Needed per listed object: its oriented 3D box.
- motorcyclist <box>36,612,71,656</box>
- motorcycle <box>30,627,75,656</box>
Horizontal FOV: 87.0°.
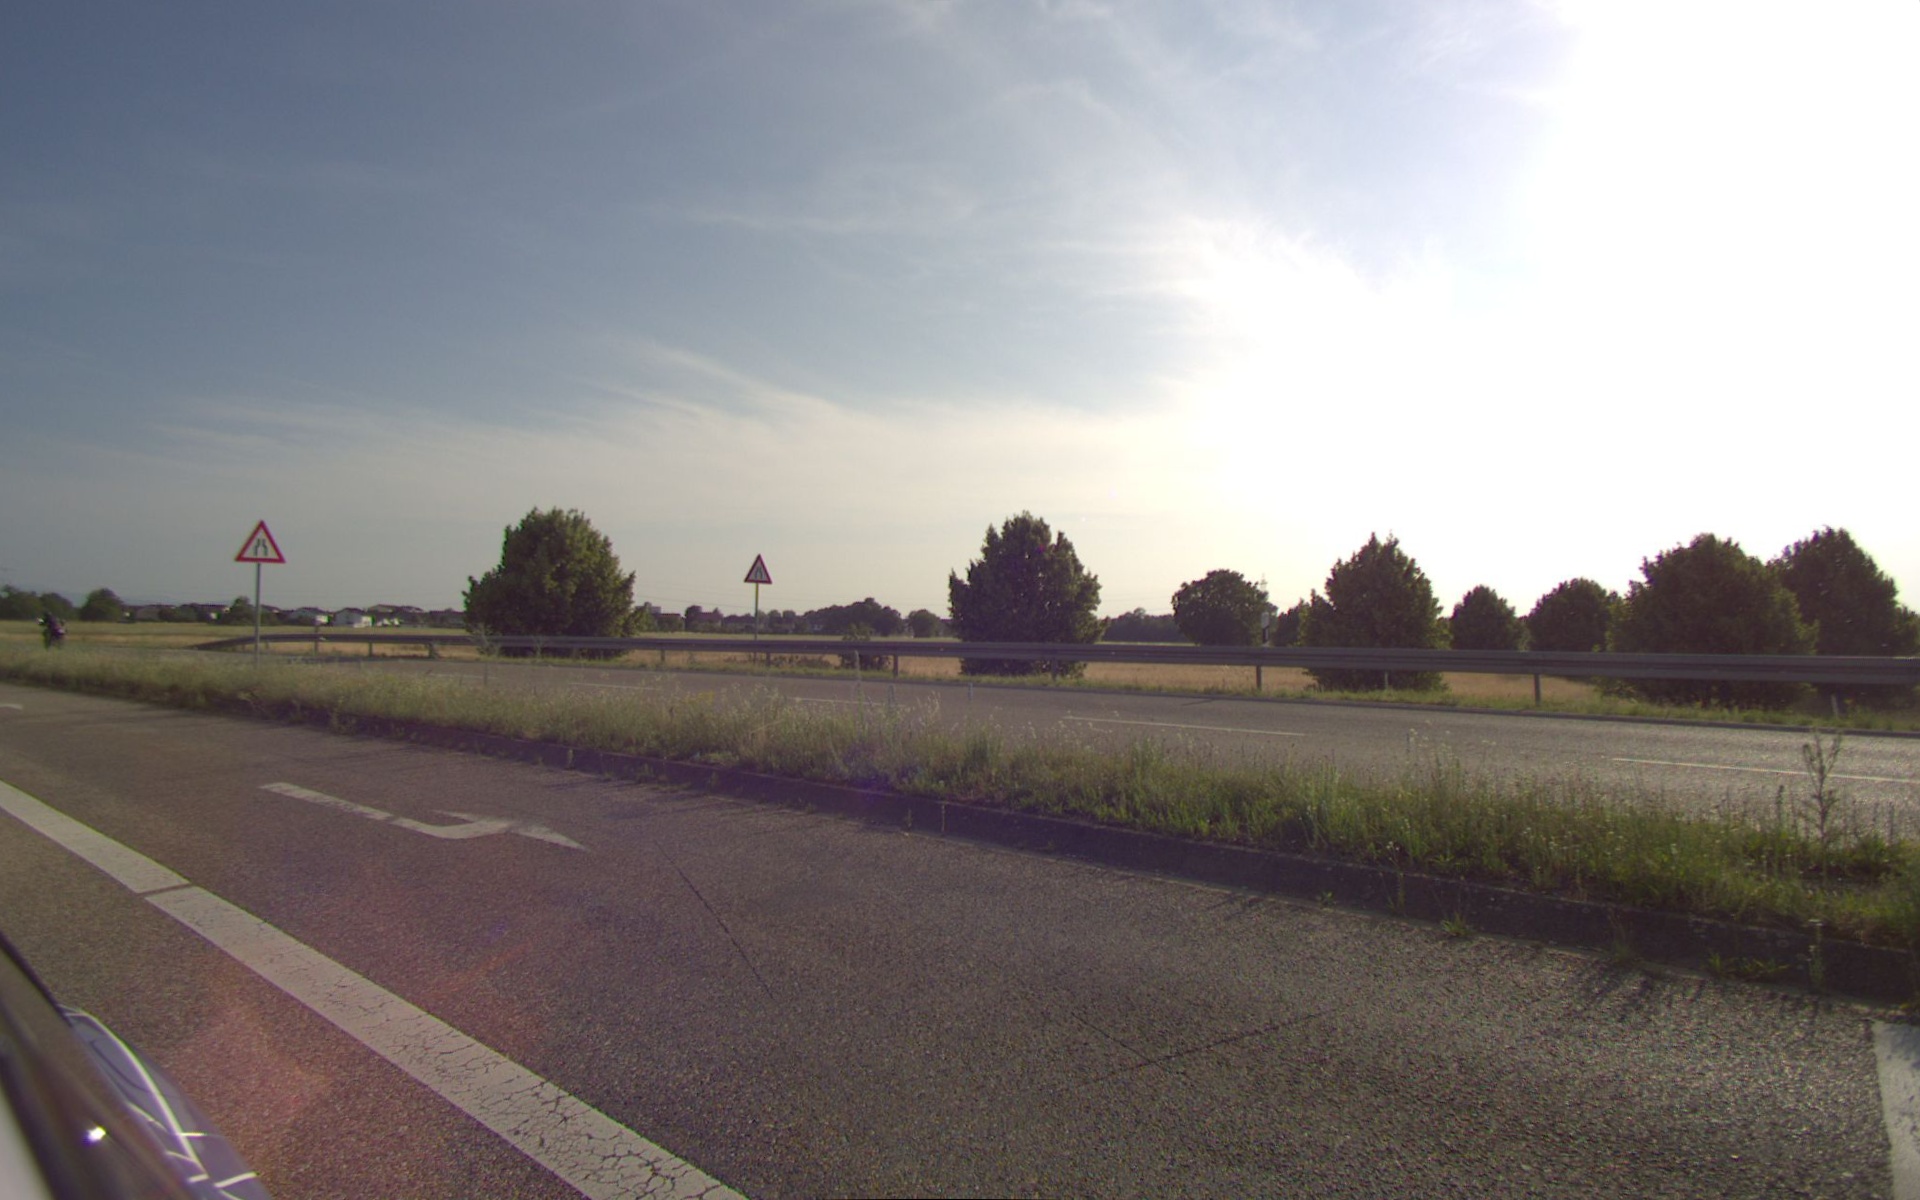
[{"bbox_3d":[-37.584,1.393,41.963,0.830,1.771,0.896,-1,-1,35],"label":"motorcyclist"},{"bbox_3d":[-37.662,1.714,41.992,2.166,1.133,0.929,-1,-1,35],"label":"motorcycle"}]
